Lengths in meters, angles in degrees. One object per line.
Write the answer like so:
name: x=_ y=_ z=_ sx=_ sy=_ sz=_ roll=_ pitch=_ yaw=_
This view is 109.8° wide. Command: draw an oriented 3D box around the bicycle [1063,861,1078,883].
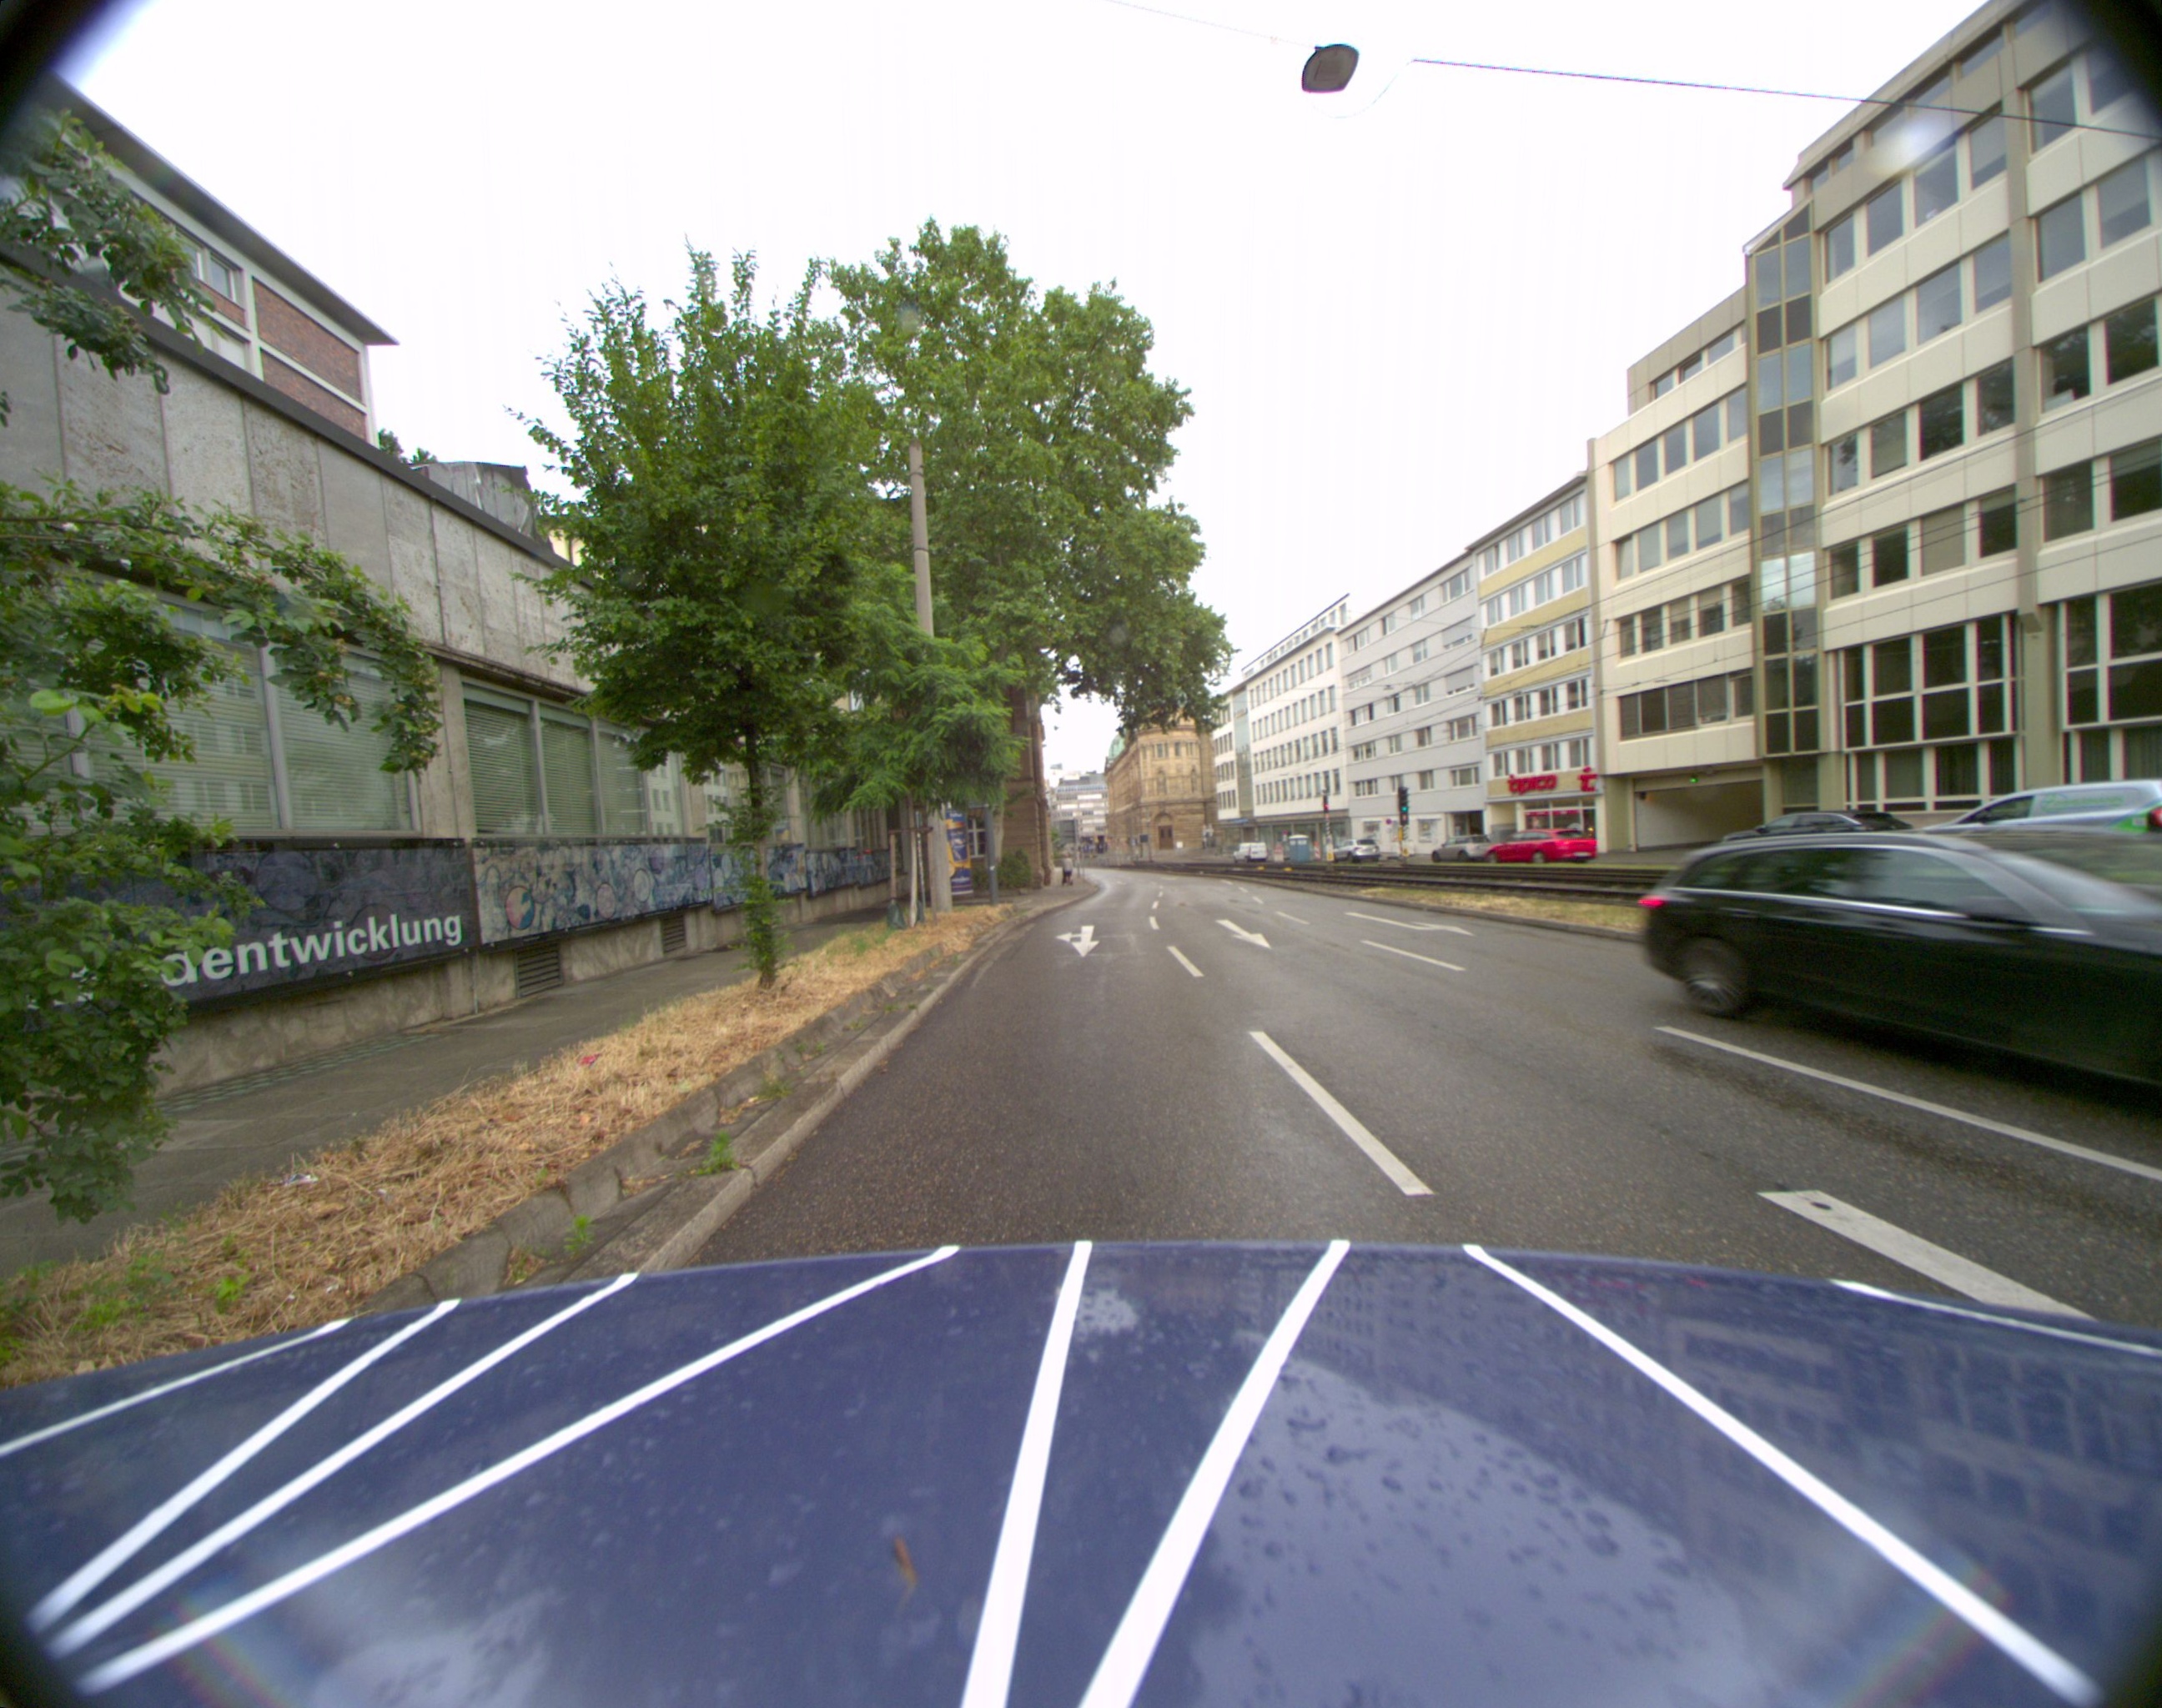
bicycle: x=-0.579 y=1.039 z=43.372 sx=0.620 sy=1.213 sz=0.911 roll=-2 pitch=1 yaw=12

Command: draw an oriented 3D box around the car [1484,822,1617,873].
car: x=17.580 y=-0.255 z=28.732 sx=1.986 sy=1.631 sz=4.414 roll=-5 pitch=1 yaw=-5

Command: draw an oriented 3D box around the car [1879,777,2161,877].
car: x=21.513 y=-0.613 z=17.014 sx=1.999 sy=1.840 sz=4.691 roll=-6 pitch=2 yaw=-7

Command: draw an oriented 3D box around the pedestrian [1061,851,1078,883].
pedestrian: x=-0.628 y=0.731 z=42.328 sx=0.719 sy=1.732 sz=1.020 roll=-1 pitch=1 yaw=11

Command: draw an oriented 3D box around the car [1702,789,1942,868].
car: x=21.094 y=-0.702 z=21.977 sx=1.999 sy=1.840 sz=4.691 roll=-6 pitch=2 yaw=-7

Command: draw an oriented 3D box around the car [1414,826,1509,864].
car: x=19.454 y=-0.481 z=39.151 sx=1.999 sy=1.664 sz=4.691 roll=-6 pitch=2 yaw=-7

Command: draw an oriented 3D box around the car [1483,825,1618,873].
car: x=17.558 y=-0.224 z=28.680 sx=1.999 sy=1.479 sz=4.323 roll=-6 pitch=2 yaw=-7

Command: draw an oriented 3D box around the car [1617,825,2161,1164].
car: x=5.894 y=0.623 z=4.505 sx=1.999 sy=1.458 sz=4.642 roll=-5 pitch=0 yaw=-1

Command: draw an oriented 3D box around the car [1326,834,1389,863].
car: x=18.330 y=-0.345 z=50.620 sx=1.999 sy=1.664 sz=4.694 roll=-6 pitch=0 yaw=-4

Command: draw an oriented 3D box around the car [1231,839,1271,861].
car: x=16.384 y=-0.418 z=73.350 sx=1.999 sy=1.832 sz=5.127 roll=-6 pitch=2 yaw=-7
